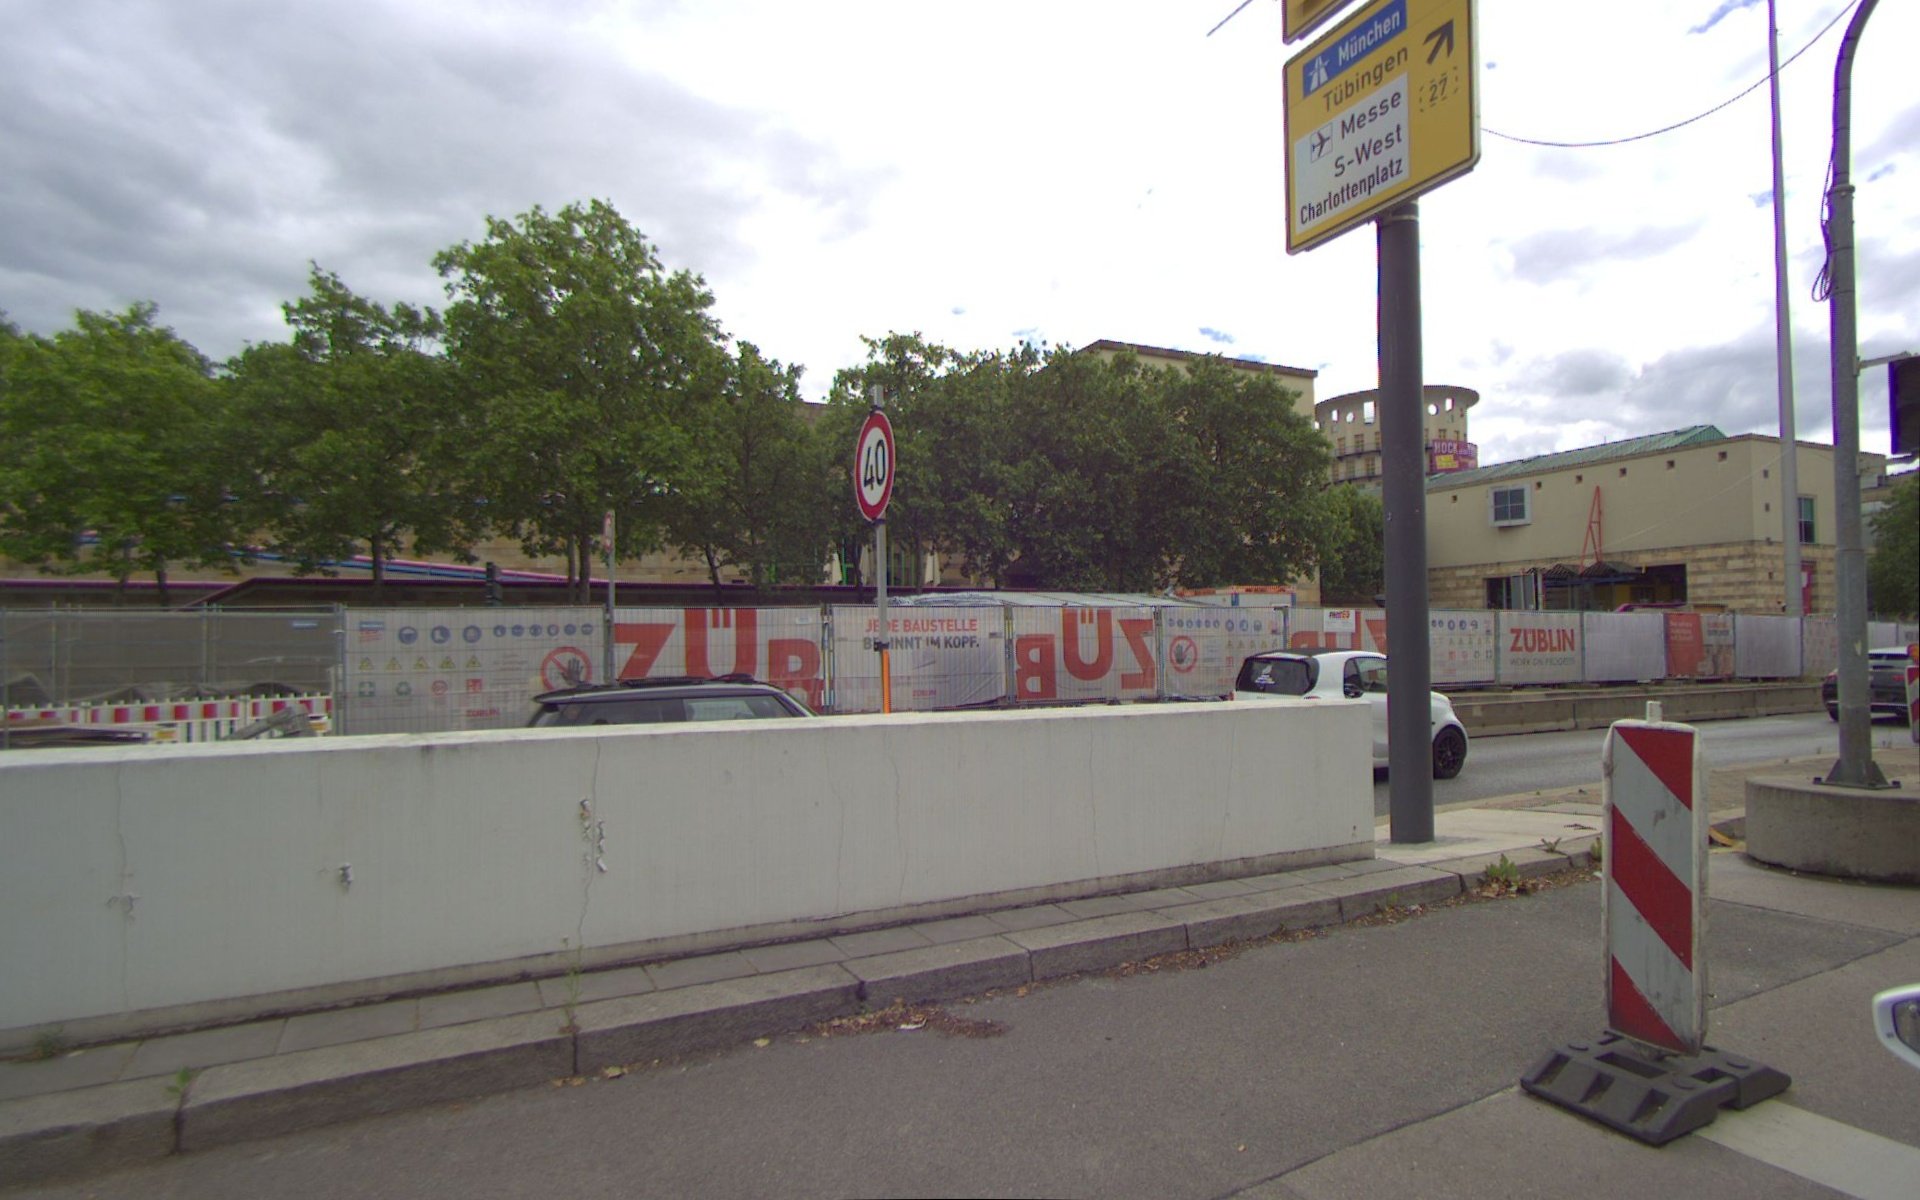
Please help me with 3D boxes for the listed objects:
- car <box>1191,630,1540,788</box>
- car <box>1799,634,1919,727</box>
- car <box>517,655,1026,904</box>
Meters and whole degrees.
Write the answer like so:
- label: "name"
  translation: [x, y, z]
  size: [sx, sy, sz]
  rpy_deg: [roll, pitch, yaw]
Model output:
- label: "car"
  translation: [5.072, 1.231, 12.542]
  size: [3.949, 1.663, 1.986]
  rpy_deg: [1, -1, -28]
- label: "car"
  translation: [17.918, 1.459, 18.880]
  size: [4.275, 1.588, 1.745]
  rpy_deg: [1, -3, -27]
- label: "car"
  translation: [-1.624, 1.329, 8.714]
  size: [3.949, 1.663, 1.986]
  rpy_deg: [1, -3, -28]
